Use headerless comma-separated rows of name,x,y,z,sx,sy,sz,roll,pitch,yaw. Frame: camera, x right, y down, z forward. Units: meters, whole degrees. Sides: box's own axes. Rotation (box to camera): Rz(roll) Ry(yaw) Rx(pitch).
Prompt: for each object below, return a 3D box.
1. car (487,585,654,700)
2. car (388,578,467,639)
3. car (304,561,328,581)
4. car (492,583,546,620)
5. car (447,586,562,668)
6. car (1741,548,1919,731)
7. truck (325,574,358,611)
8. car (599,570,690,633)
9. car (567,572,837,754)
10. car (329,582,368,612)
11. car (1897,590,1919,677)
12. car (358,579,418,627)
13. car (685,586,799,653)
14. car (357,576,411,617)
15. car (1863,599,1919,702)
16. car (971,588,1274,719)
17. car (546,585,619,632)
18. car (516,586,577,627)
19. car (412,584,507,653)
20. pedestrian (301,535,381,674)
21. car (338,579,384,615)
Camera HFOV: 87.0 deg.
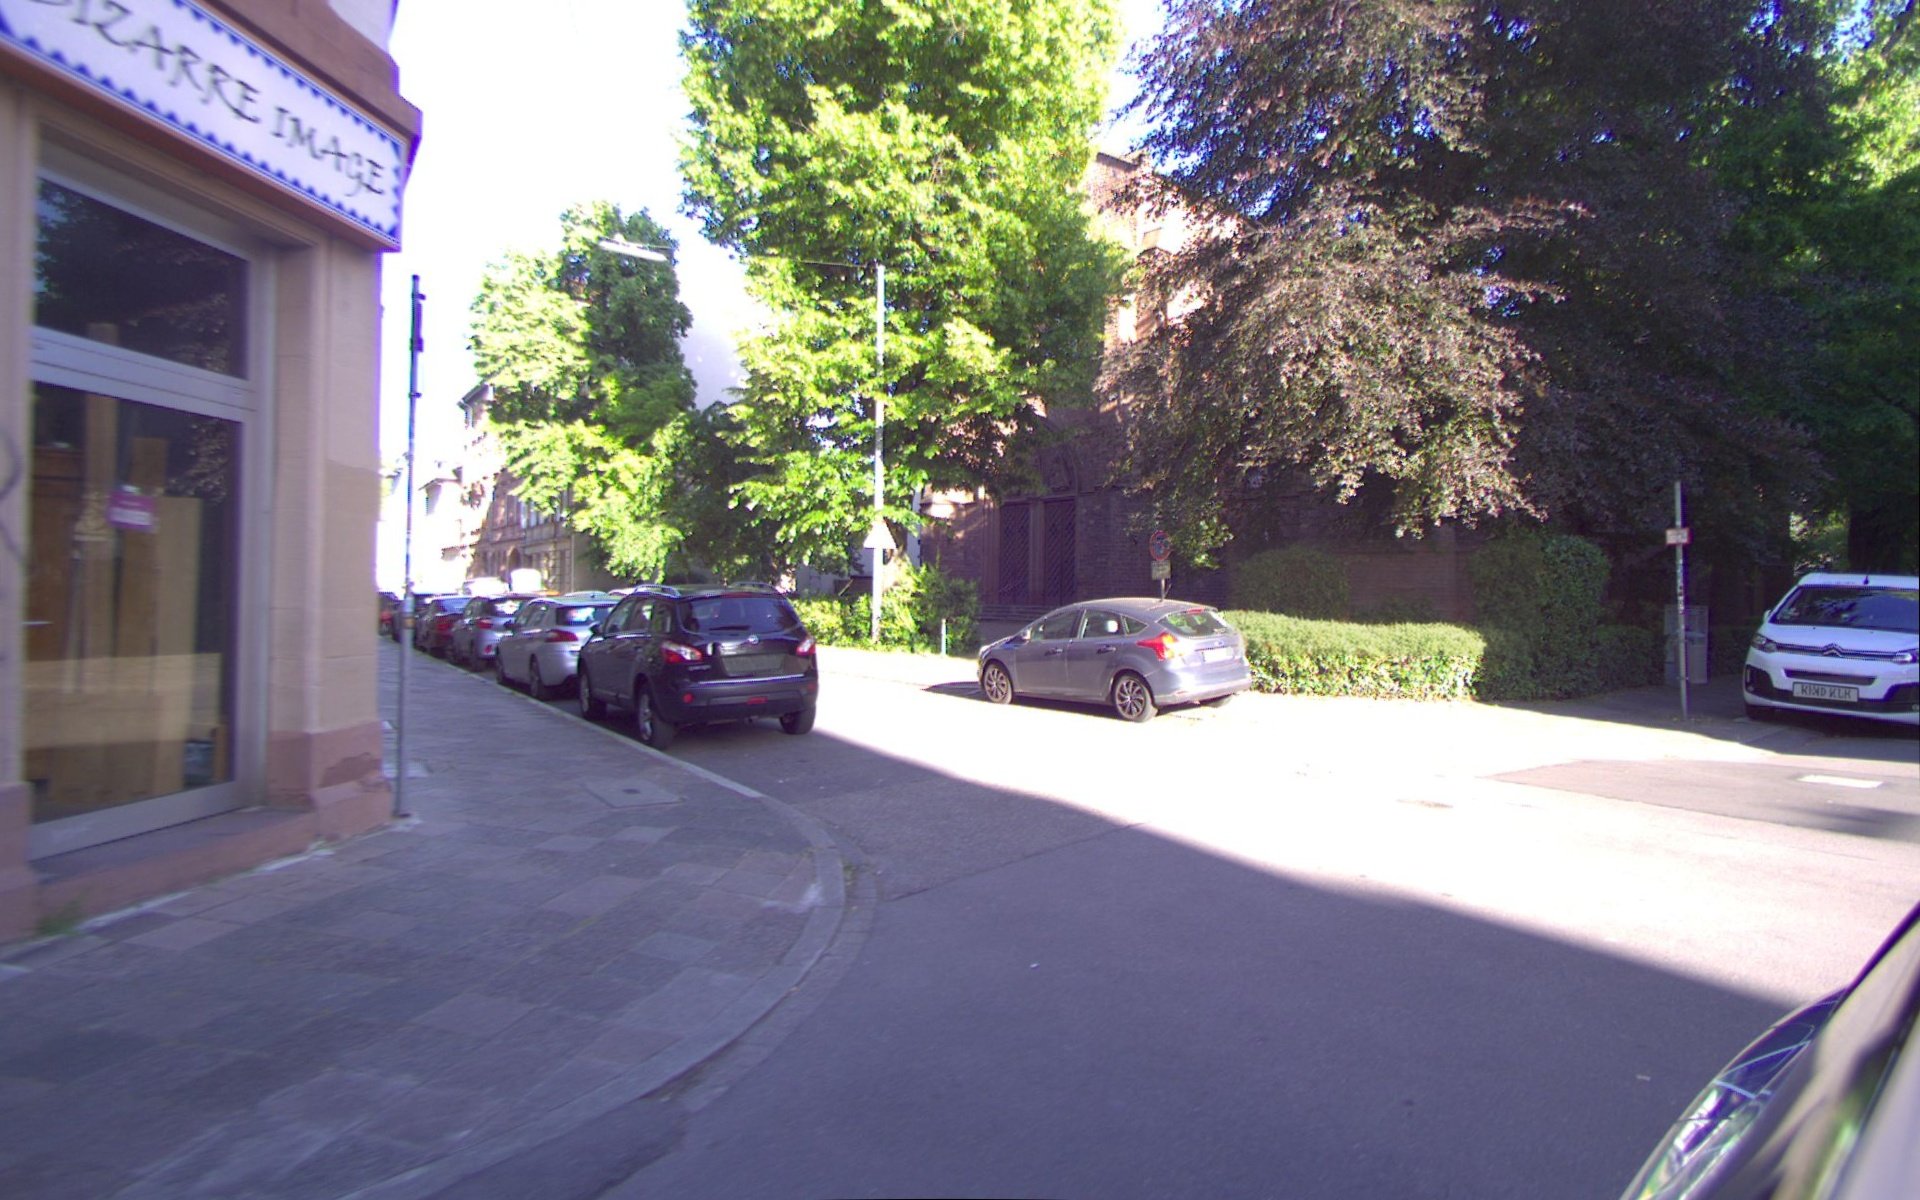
car,-6.080,0.535,15.545,1.602,1.491,3.869,-2,2,-33
car,-15.019,0.177,28.461,1.602,1.572,3.895,-2,2,-33
car,-53.430,-2.383,83.941,1.602,1.572,3.894,-2,2,-34
car,-19.491,0.036,44.635,1.602,1.491,3.544,-2,2,-33
car,-9.367,0.472,20.670,1.602,1.491,3.544,-2,2,-33
car,12.265,0.445,13.379,4.704,2.023,1.920,1,3,-38
truck,-39.272,-0.496,64.223,1.602,2.243,4.367,-2,2,-34
car,-9.212,-0.002,29.365,1.602,1.669,3.544,-2,2,-33
car,-3.025,0.509,11.266,1.727,1.628,3.934,-2,2,-33
car,-33.572,-0.179,55.520,1.602,1.572,3.894,-2,2,-34
car,20.405,0.711,20.513,4.195,1.621,1.742,-1,7,-45
car,-20.308,0.072,35.877,1.602,1.572,3.895,-2,2,-33
car,-5.458,0.421,25.085,1.602,1.491,3.544,-2,2,-33
car,-23.443,-0.177,41.149,1.602,1.572,3.894,-2,2,-34
car,16.579,0.811,17.029,3.764,1.590,1.721,0,1,-43
car,2.067,0.591,13.794,1.765,1.457,3.929,-2,2,-38
car,-12.938,0.238,34.565,1.602,1.491,3.544,-2,2,-33
car,-16.462,0.215,40.207,1.602,1.491,3.544,-2,2,-33
car,-12.060,0.370,24.260,1.602,1.491,3.702,-2,2,-33
pedestrian,-8.989,0.076,14.693,0.786,1.945,0.716,4,-2,-40
car,-27.792,-0.180,46.932,1.602,1.572,3.894,-2,2,-34
